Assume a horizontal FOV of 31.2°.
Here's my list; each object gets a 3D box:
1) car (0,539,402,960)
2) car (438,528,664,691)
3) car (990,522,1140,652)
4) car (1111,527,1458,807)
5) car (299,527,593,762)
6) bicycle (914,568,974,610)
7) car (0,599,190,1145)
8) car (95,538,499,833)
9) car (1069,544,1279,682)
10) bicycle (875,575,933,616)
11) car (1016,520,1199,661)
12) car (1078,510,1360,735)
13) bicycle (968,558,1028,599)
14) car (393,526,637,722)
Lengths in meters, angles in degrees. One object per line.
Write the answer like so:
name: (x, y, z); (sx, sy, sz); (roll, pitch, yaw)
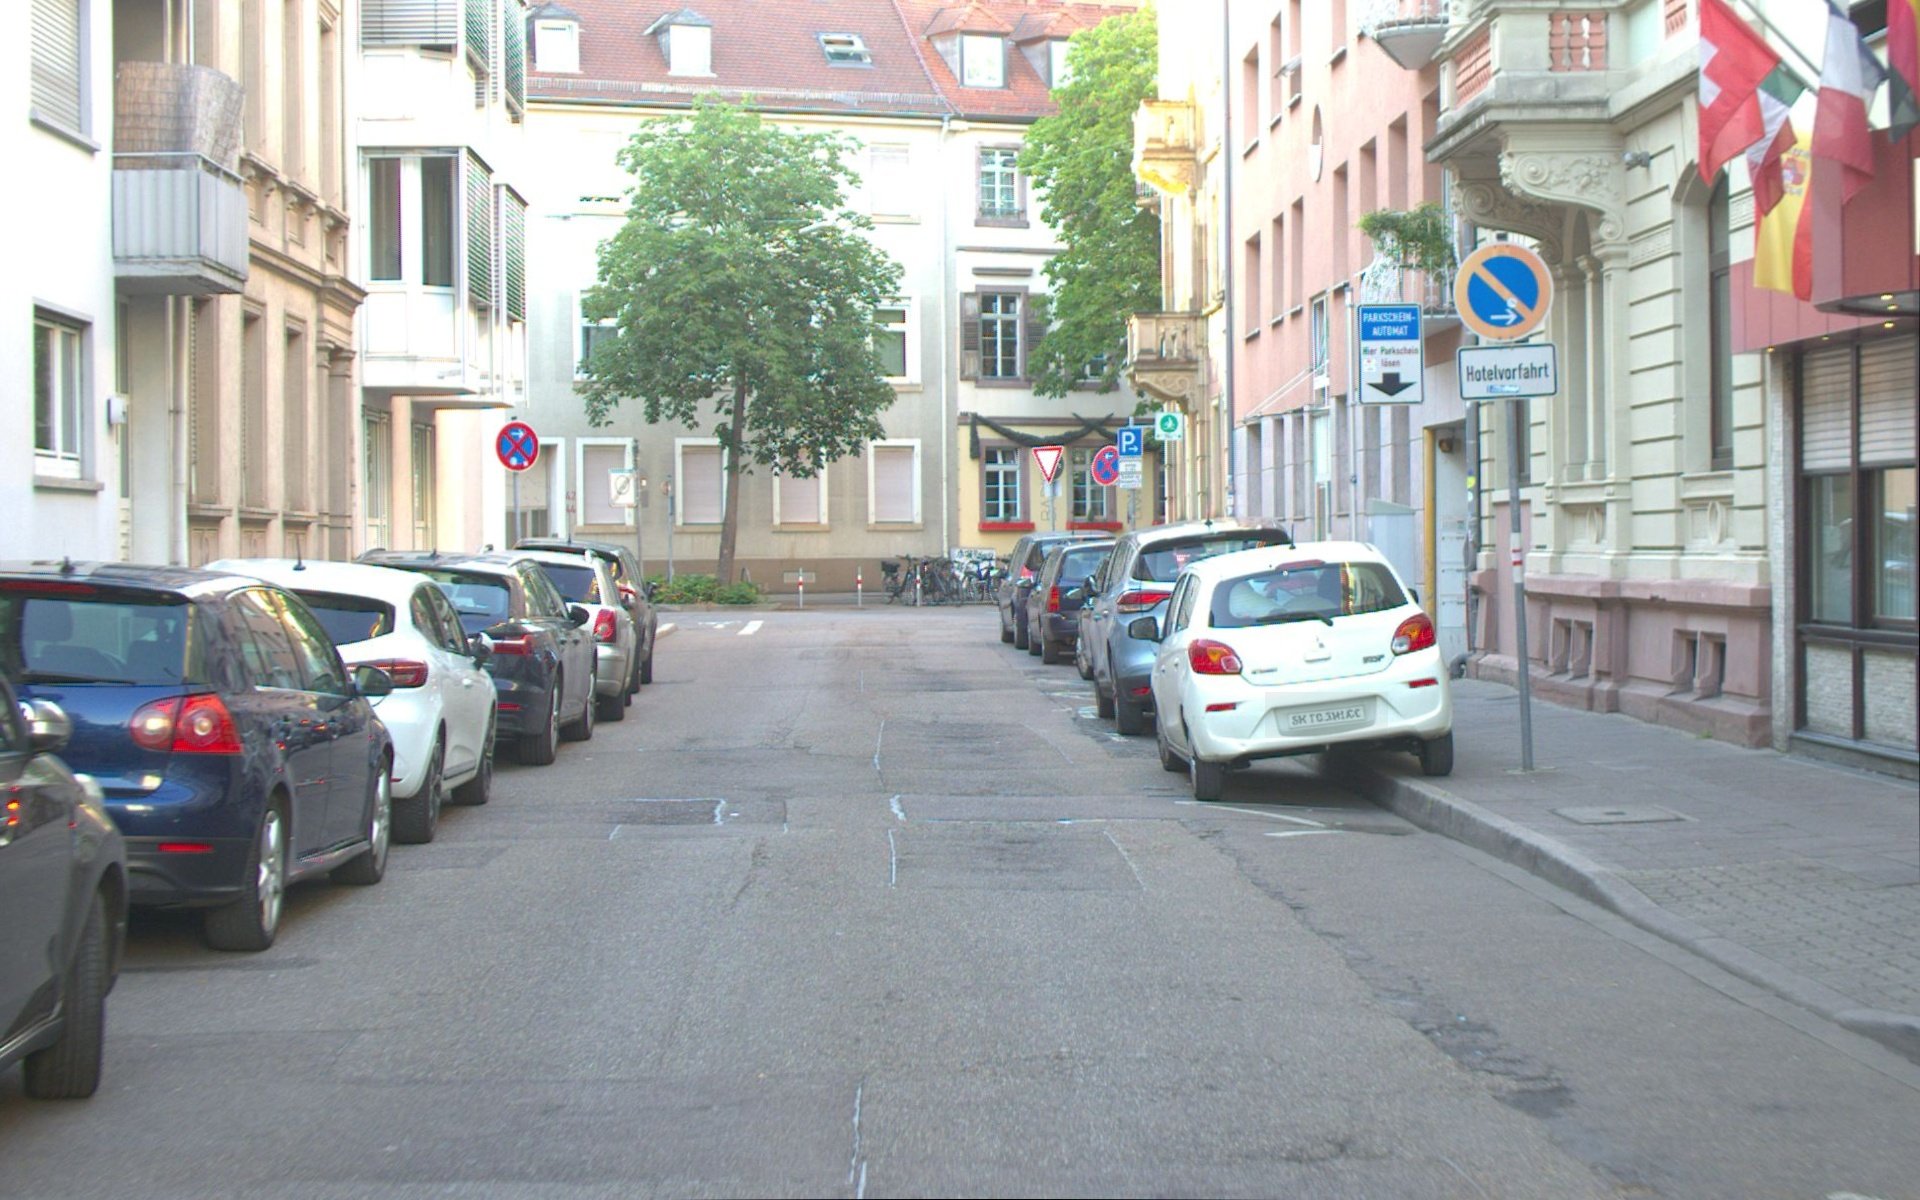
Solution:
car: (-3.507, 0.521, 14.534); (1.728, 1.503, 3.831); (-1, 2, -1)
car: (-4.413, 0.065, 37.647); (1.993, 1.657, 3.977); (-1, 1, 0)
car: (1.467, -0.212, 49.430); (1.993, 1.755, 4.000); (-1, 1, 0)
car: (2.003, 0.355, 22.217); (1.662, 1.454, 3.759); (-7, 2, -1)
car: (-3.734, 0.257, 25.605); (1.614, 1.565, 4.304); (-1, 2, -1)
bicycle: (-0.368, -0.267, 79.801); (0.518, 0.891, 1.725); (-3, 4, -34)
car: (-3.212, 0.681, 8.703); (1.683, 1.327, 4.132); (-1, 0, -1)
car: (-3.659, 0.405, 19.558); (1.630, 1.467, 3.755); (-1, 2, -1)
car: (2.253, 0.103, 37.129); (1.993, 1.379, 3.706); (-1, 1, 0)
bicycle: (-1.332, -0.105, 81.246); (0.518, 0.945, 1.725); (-1, 0, -34)
car: (1.848, -0.153, 44.258); (1.993, 1.703, 4.001); (-1, 1, -2)
car: (2.081, 0.140, 28.683); (1.993, 1.726, 4.059); (-1, 1, 0)
bicycle: (0.879, -0.512, 80.418); (0.518, 0.945, 1.725); (-1, 1, -34)
car: (-4.019, 0.165, 31.685); (1.993, 1.661, 4.410); (-1, 1, -4)
